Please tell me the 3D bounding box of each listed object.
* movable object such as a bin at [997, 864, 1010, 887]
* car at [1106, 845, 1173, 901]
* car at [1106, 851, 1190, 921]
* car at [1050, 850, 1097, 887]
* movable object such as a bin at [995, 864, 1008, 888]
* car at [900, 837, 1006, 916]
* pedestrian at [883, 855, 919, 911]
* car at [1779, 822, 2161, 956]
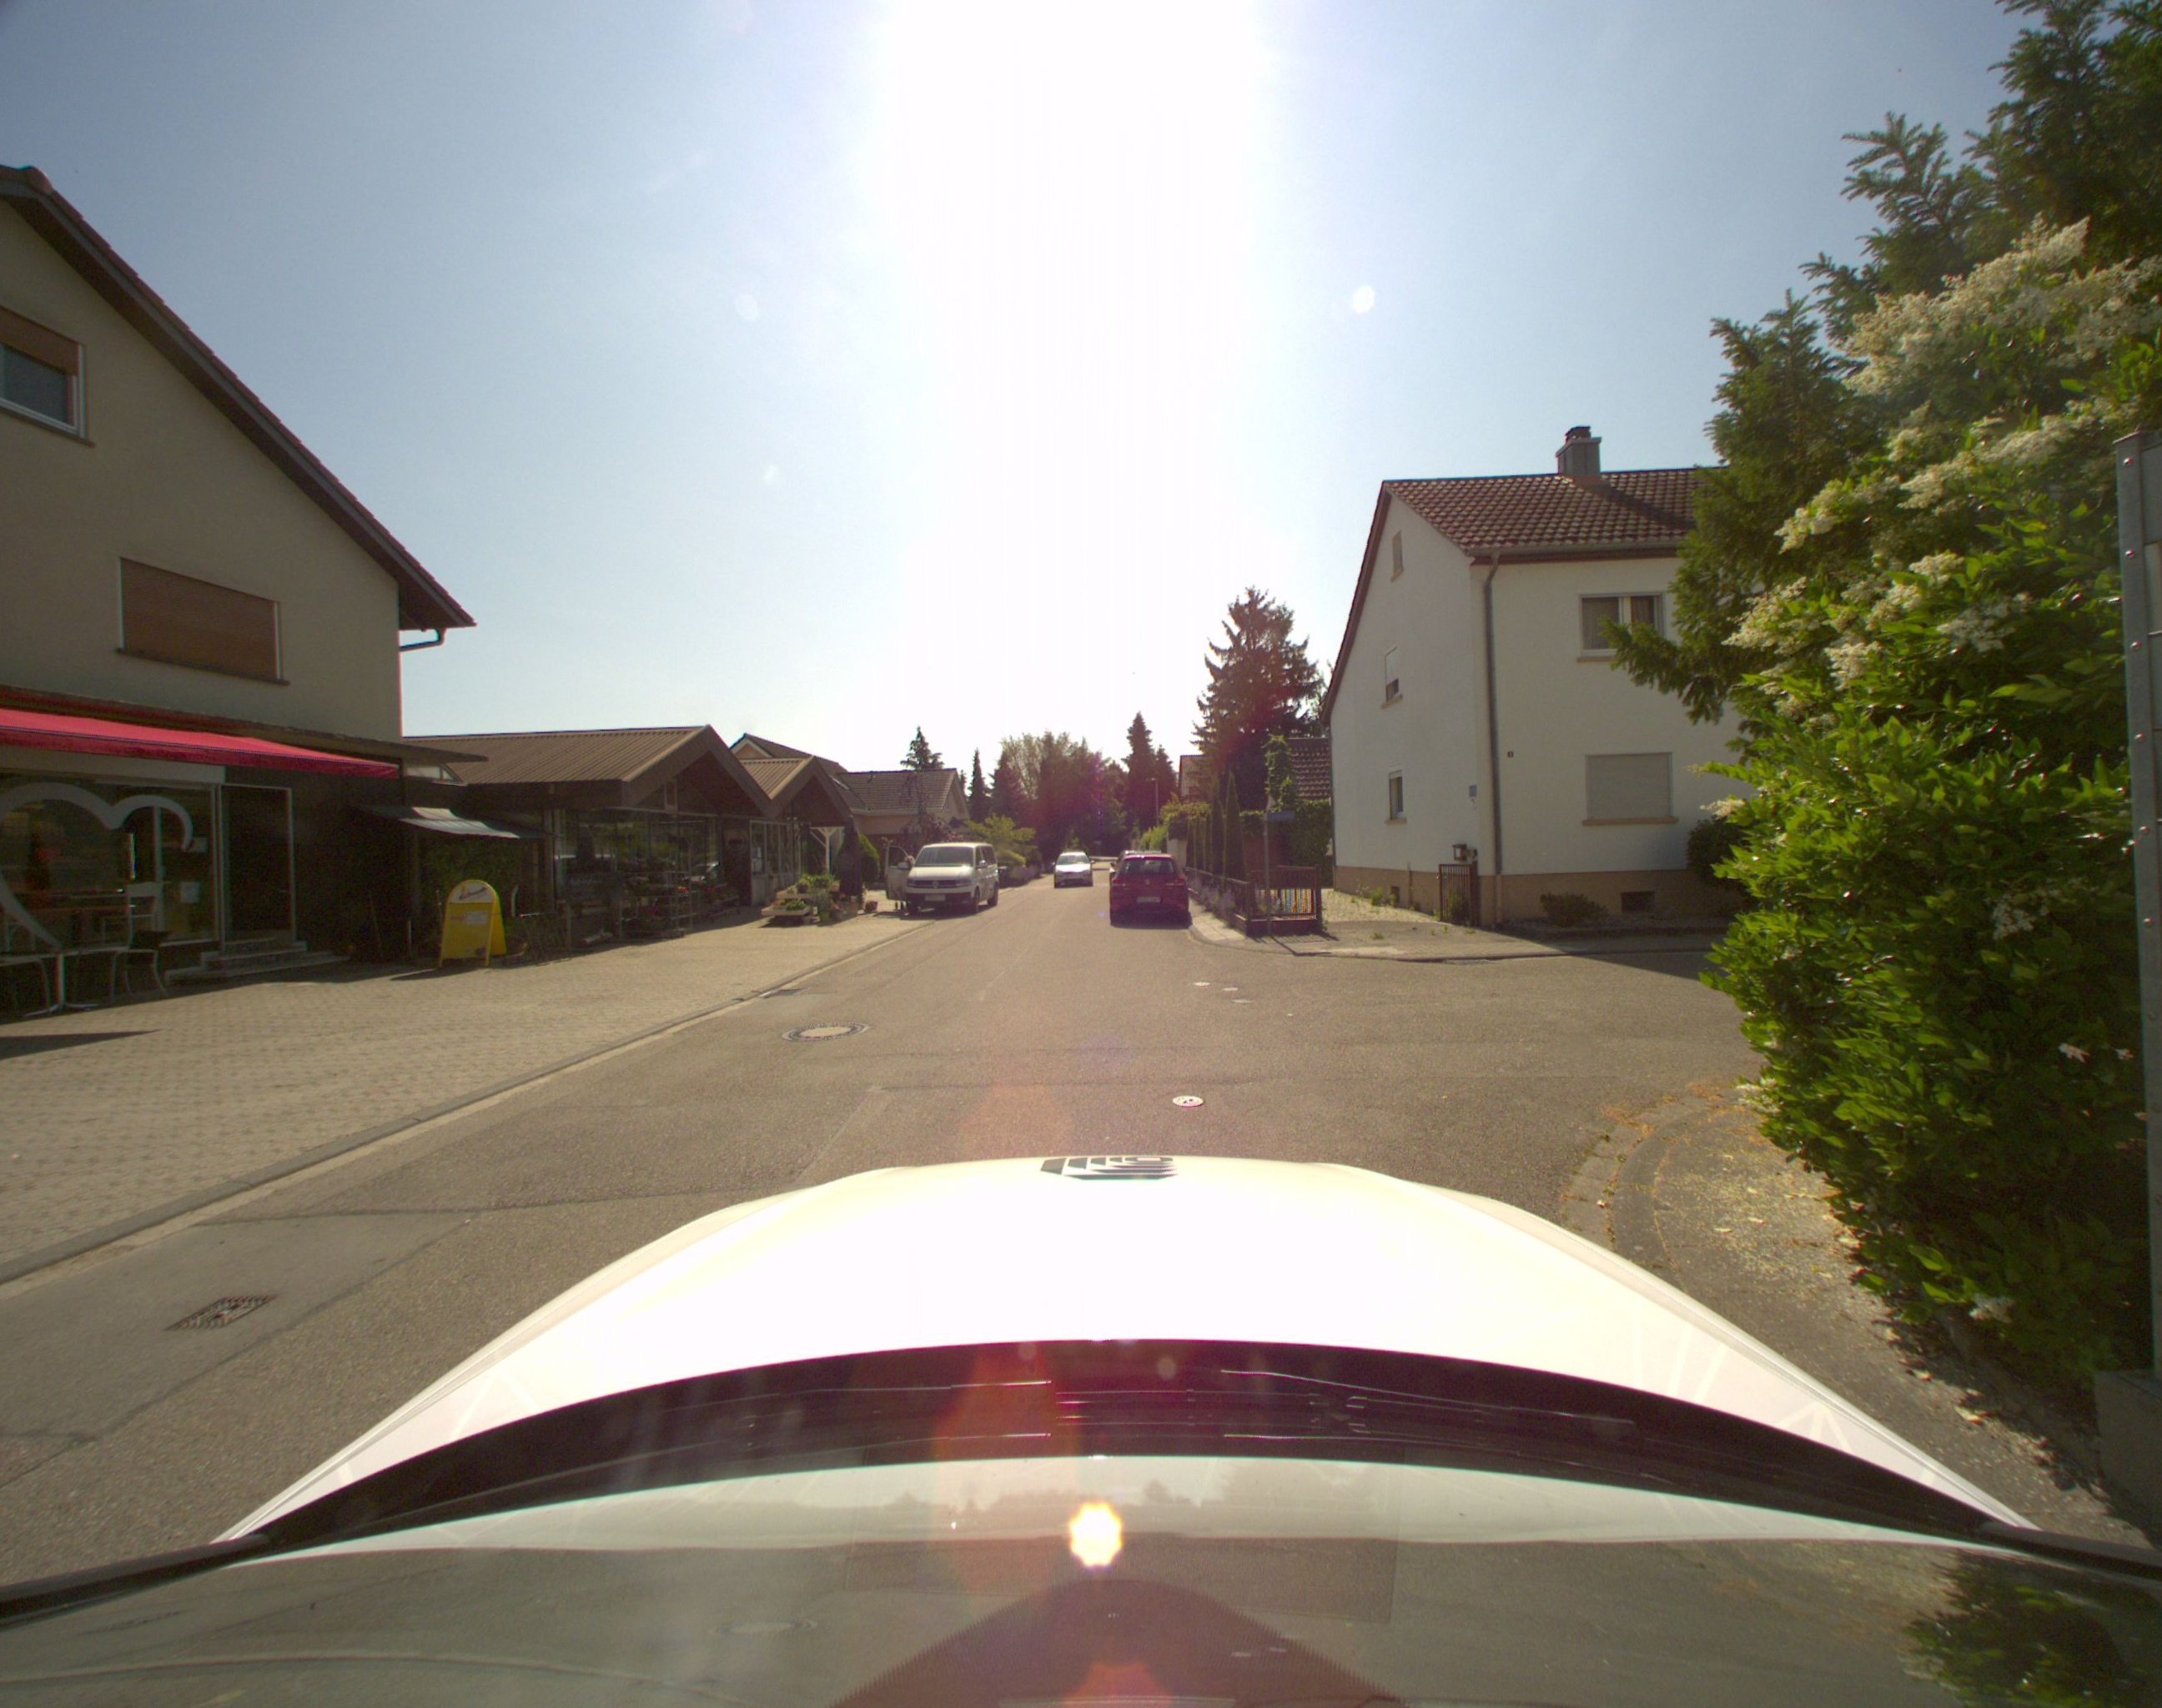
[{"bbox_3d":[-3.573,1.002,37.387,0.492,1.024,0.448,-2,0,2],"label":"movable object such as a bin"},{"bbox_3d":[1.794,0.547,26.045,1.816,1.615,3.999,-1,0,0],"label":"car"},{"bbox_3d":[1.620,0.677,19.259,1.766,1.479,4.007,0,0,6],"label":"car"},{"bbox_3d":[-0.273,0.599,36.687,1.745,1.487,4.379,-2,0,3],"label":"car"},{"bbox_3d":[-3.604,0.987,36.910,0.492,1.024,0.448,-2,0,2],"label":"movable object such as a bin"},{"bbox_3d":[-3.587,0.570,23.763,1.920,2.013,4.901,-2,0,4],"label":"car"},{"bbox_3d":[-5.166,0.821,23.374,0.710,1.538,0.646,-1,1,36],"label":"pedestrian"},{"bbox_3d":[11.973,0.409,10.735,3.971,1.530,1.798,-2,0,1],"label":"car"}]
